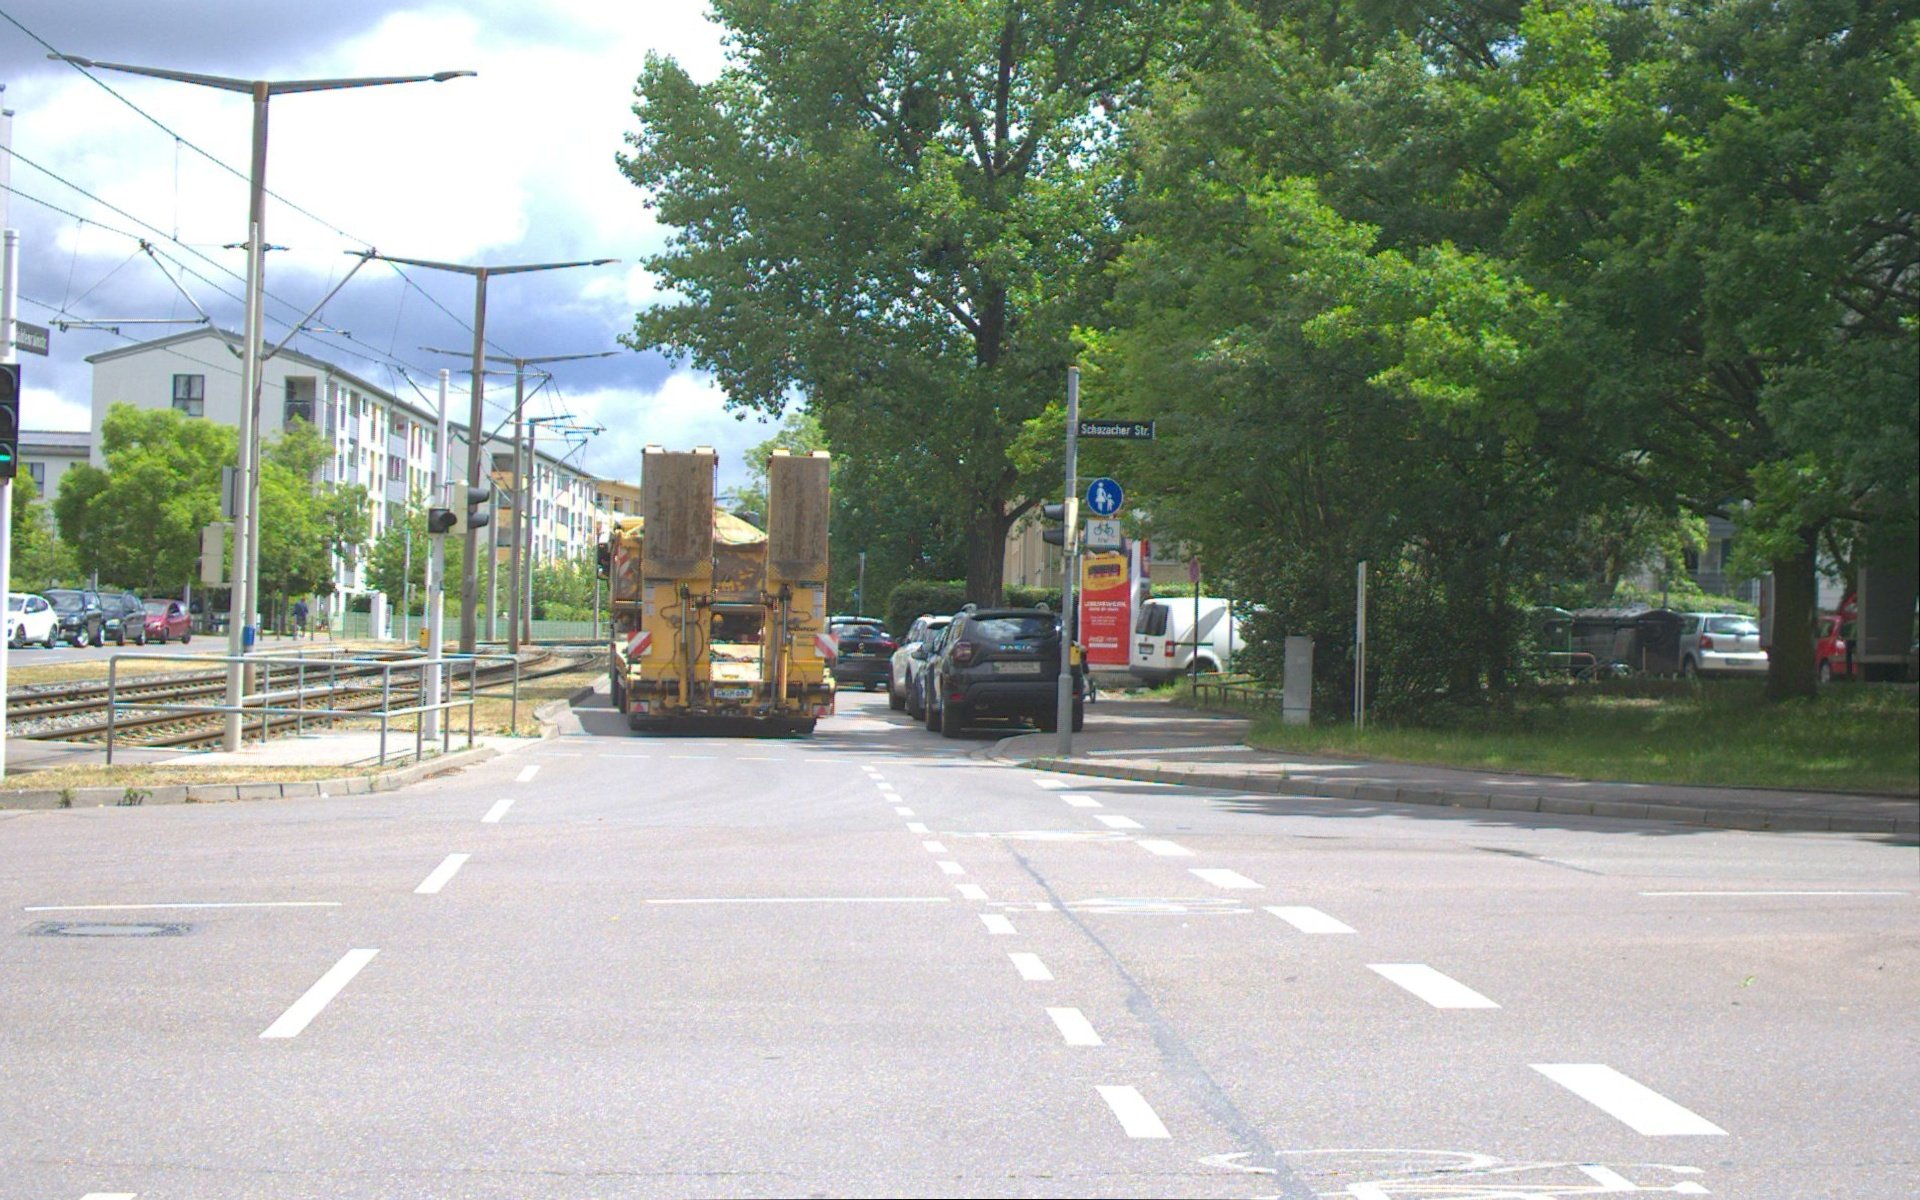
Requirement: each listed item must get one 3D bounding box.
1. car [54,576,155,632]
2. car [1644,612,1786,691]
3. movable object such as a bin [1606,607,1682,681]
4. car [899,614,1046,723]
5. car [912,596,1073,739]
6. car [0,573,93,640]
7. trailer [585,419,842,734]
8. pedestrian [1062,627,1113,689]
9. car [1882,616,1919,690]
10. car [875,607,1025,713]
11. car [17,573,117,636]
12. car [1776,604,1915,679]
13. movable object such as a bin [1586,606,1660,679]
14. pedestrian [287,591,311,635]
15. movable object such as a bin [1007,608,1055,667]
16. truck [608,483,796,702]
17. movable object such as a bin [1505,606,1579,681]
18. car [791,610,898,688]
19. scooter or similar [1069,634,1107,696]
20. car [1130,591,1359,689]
[{"bbox_3d":[-25.719,0.107,103.443,1.993,1.642,4.100,1,0,0],"label":"car"},{"bbox_3d":[15.237,1.014,69.561,1.940,1.485,4.000,1,0,-1],"label":"car"},{"bbox_3d":[13.304,0.850,66.883,1.115,1.425,1.286,1,0,-5],"label":"movable object such as a bin"},{"bbox_3d":[0.140,0.960,49.732,1.643,1.453,4.077,1,0,-6],"label":"car"},{"bbox_3d":[0.377,0.842,45.237,1.643,1.756,4.570,1,0,-5],"label":"car"},{"bbox_3d":[-24.411,0.165,91.286,1.993,1.657,4.100,2,0,-5],"label":"car"},{"bbox_3d":[-3.428,-0.314,47.141,3.050,3.760,11.614,1,0,-5],"label":"trailer"},{"bbox_3d":[2.203,0.995,59.342,0.775,1.051,0.547,1,0,-9],"label":"pedestrian"},{"bbox_3d":[20.119,1.081,69.391,1.743,1.465,4.001,1,0,-3],"label":"car"},{"bbox_3d":[-0.198,0.917,54.470,1.783,1.560,4.571,1,0,-8],"label":"car"},{"bbox_3d":[-25.027,0.116,96.466,1.993,1.657,4.100,2,0,-5],"label":"car"},{"bbox_3d":[17.986,0.823,69.997,1.743,1.438,4.000,1,0,-1],"label":"car"},{"bbox_3d":[13.161,0.836,68.293,1.115,1.425,1.286,1,0,-5],"label":"movable object such as a bin"},{"bbox_3d":[-25.289,0.500,131.545,0.749,1.656,0.869,1,0,2],"label":"pedestrian"},{"bbox_3d":[1.755,0.913,84.576,1.098,1.434,0.761,1,0,-5],"label":"movable object such as a bin"},{"bbox_3d":[-4.256,-0.145,56.439,2.833,3.319,7.985,1,0,-5],"label":"truck"},{"bbox_3d":[11.189,0.831,66.133,1.115,1.425,1.286,1,0,-5],"label":"movable object such as a bin"},{"bbox_3d":[-2.307,0.942,67.669,1.815,1.444,3.827,1,0,-6],"label":"car"},{"bbox_3d":[2.211,1.120,59.354,0.476,1.051,0.897,1,0,-9],"label":"scooter or similar"},{"bbox_3d":[5.461,0.762,65.916,3.986,1.816,1.811,0,0,-26],"label":"car"}]
